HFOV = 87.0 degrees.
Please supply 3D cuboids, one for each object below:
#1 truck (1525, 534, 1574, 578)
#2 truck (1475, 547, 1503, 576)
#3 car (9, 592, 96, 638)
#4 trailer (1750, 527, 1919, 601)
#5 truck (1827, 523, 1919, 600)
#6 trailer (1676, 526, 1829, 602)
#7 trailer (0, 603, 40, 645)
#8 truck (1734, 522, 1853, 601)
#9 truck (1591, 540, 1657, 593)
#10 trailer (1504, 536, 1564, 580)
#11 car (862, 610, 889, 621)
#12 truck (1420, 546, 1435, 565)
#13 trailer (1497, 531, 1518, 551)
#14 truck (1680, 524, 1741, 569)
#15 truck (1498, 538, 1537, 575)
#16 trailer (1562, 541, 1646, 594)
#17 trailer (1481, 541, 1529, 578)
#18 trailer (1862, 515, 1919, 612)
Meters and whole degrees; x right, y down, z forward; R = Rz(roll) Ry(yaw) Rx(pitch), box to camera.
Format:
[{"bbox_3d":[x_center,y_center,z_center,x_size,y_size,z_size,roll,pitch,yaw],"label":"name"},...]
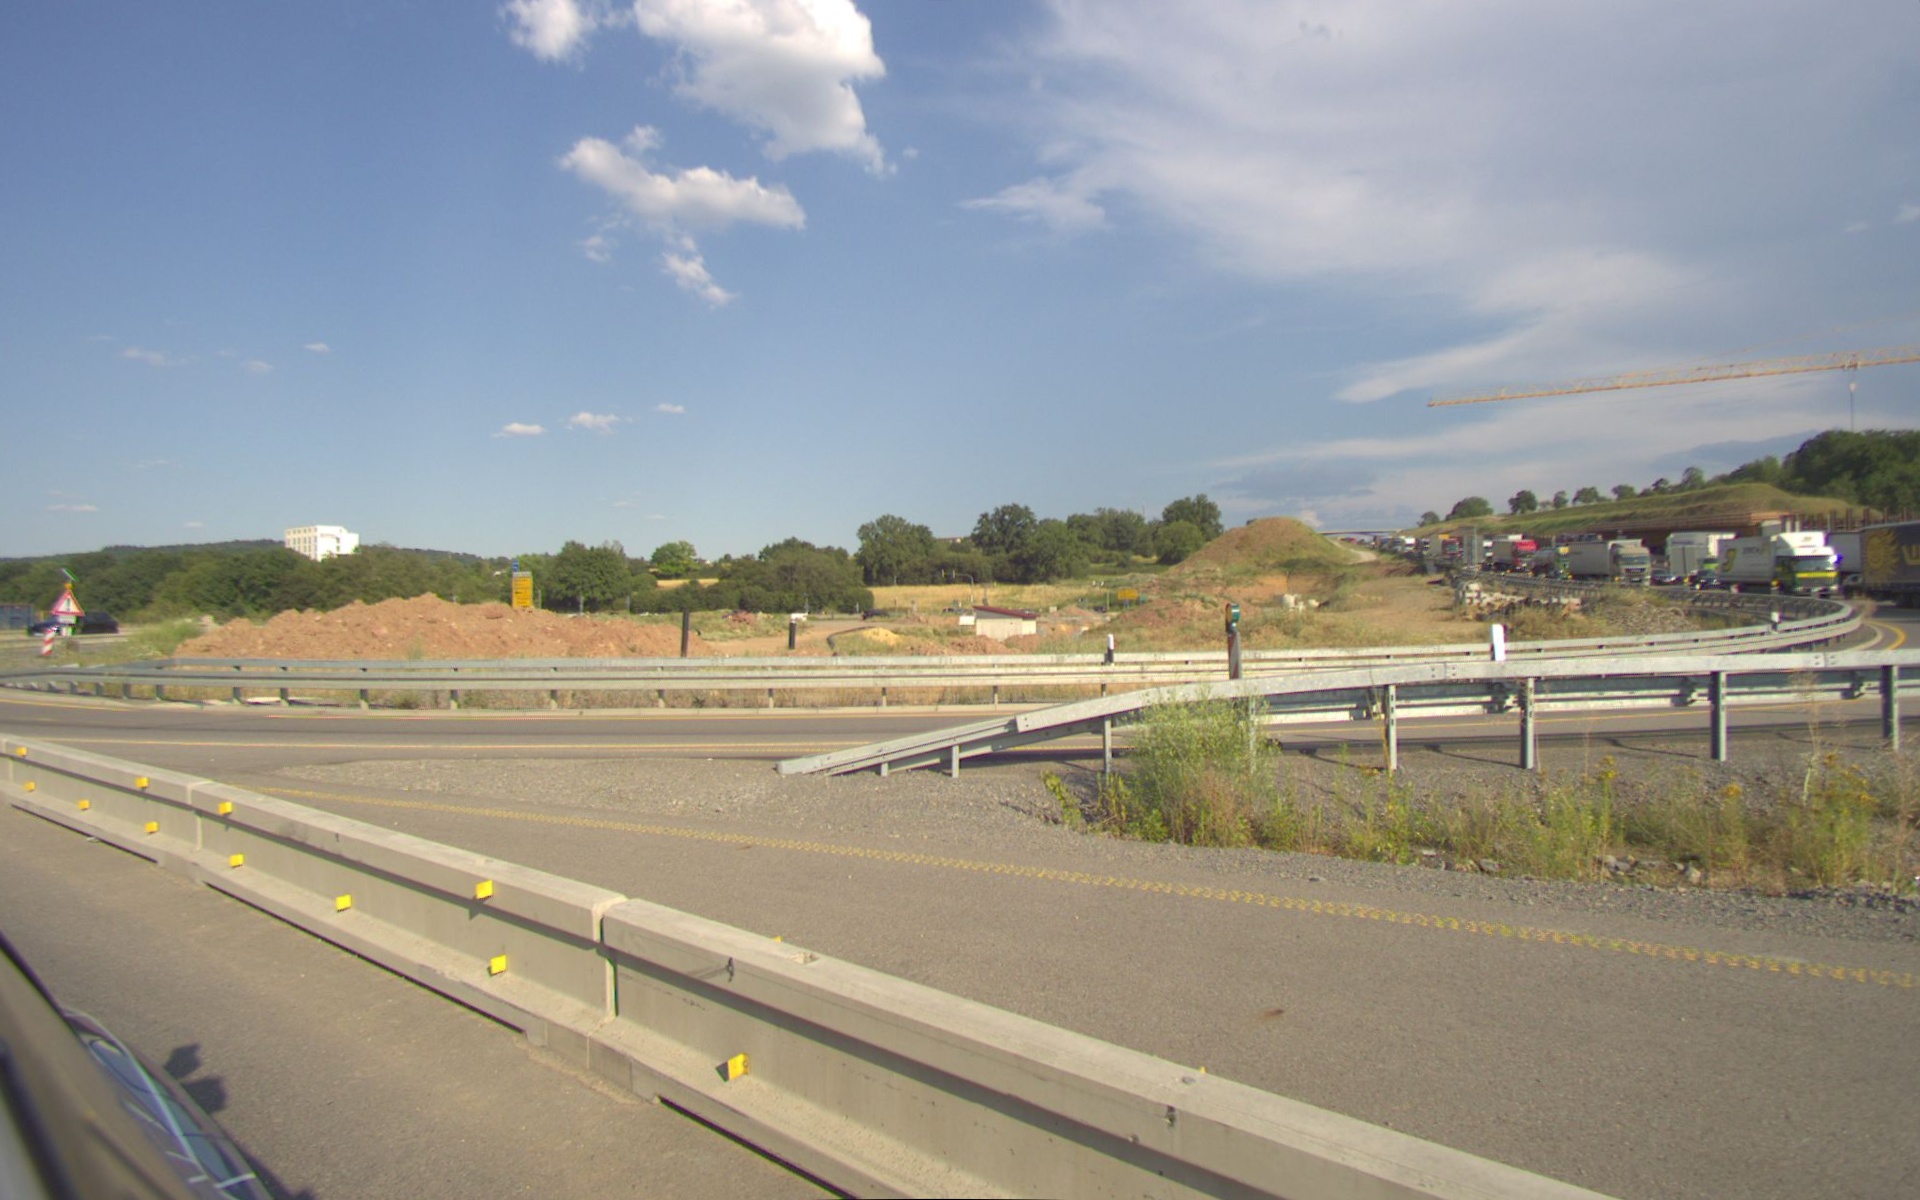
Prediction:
[{"bbox_3d":[63.542,-4.702,109.270,3.088,4.347,6.855,0,-1,18],"label":"truck"},{"bbox_3d":[79.563,-5.732,152.318,2.504,4.031,8.498,0,-1,19],"label":"truck"},{"bbox_3d":[-49.600,0.820,55.428,1.845,2.421,4.010,0,-1,-13],"label":"car"},{"bbox_3d":[54.635,-2.011,63.804,2.842,4.027,13.401,-2,-1,17],"label":"trailer"},{"bbox_3d":[52.708,-2.082,57.354,2.833,4.027,6.587,-2,-1,17],"label":"truck"},{"bbox_3d":[51.189,-2.086,66.062,3.088,4.347,14.168,0,-1,18],"label":"trailer"},{"bbox_3d":[-57.140,1.381,57.357,2.979,2.432,7.209,-1,-1,8],"label":"trailer"},{"bbox_3d":[49.319,-2.156,60.133,3.088,4.347,6.855,0,-1,18],"label":"truck"},{"bbox_3d":[58.249,-2.880,88.977,3.088,4.347,6.855,0,-1,18],"label":"truck"},{"bbox_3d":[65.907,-4.659,116.648,3.088,4.347,14.168,0,-1,18],"label":"trailer"},{"bbox_3d":[-11.390,2.083,136.929,1.705,1.530,4.478,1,0,24],"label":"car"},{"bbox_3d":[96.039,-9.066,207.961,1.983,3.491,6.183,0,-1,16],"label":"truck"},{"bbox_3d":[117.373,-12.667,216.980,1.956,3.540,11.108,0,-1,18],"label":"trailer"},{"bbox_3d":[88.000,-6.151,118.951,3.555,4.445,13.055,0,-1,27],"label":"truck"},{"bbox_3d":[71.669,-5.486,130.121,3.088,4.347,6.855,0,-1,18],"label":"truck"},{"bbox_3d":[60.287,-2.854,95.190,3.088,4.347,14.168,0,-1,18],"label":"trailer"},{"bbox_3d":[74.165,-5.438,138.005,3.088,4.347,14.168,0,-1,18],"label":"trailer"},{"bbox_3d":[44.115,-1.671,42.968,3.088,4.347,14.168,0,-1,18],"label":"trailer"}]
